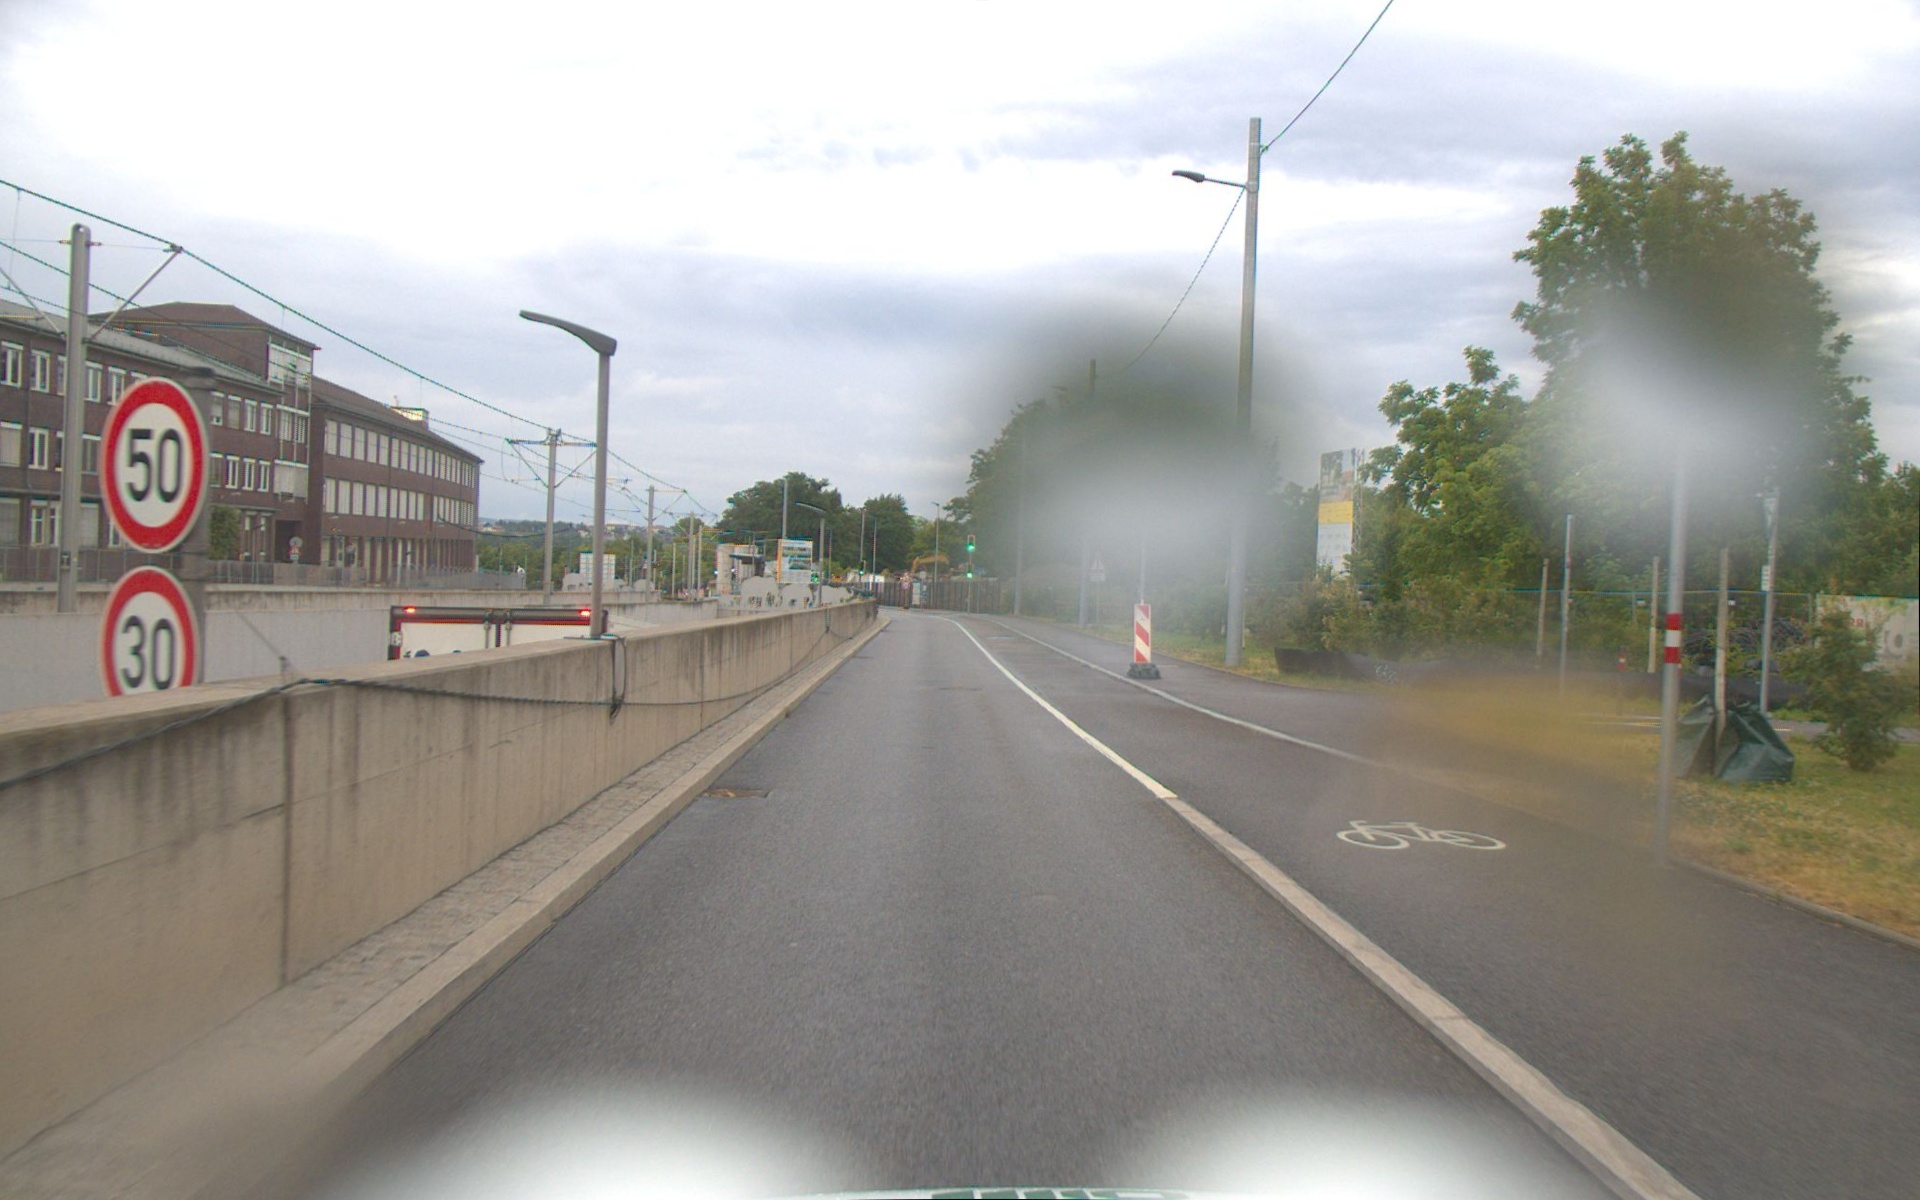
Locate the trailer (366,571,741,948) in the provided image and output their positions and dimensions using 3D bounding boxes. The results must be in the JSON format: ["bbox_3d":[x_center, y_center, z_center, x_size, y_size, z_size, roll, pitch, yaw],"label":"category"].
[{"bbox_3d":[-5.543,1.776,25.630,2.706,4.327,13.181,0,1,-1],"label":"trailer"}]

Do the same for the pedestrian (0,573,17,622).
[{"bbox_3d":[-40.281,-0.102,69.725,0.657,2.049,0.652,1,0,-4],"label":"pedestrian"}]
